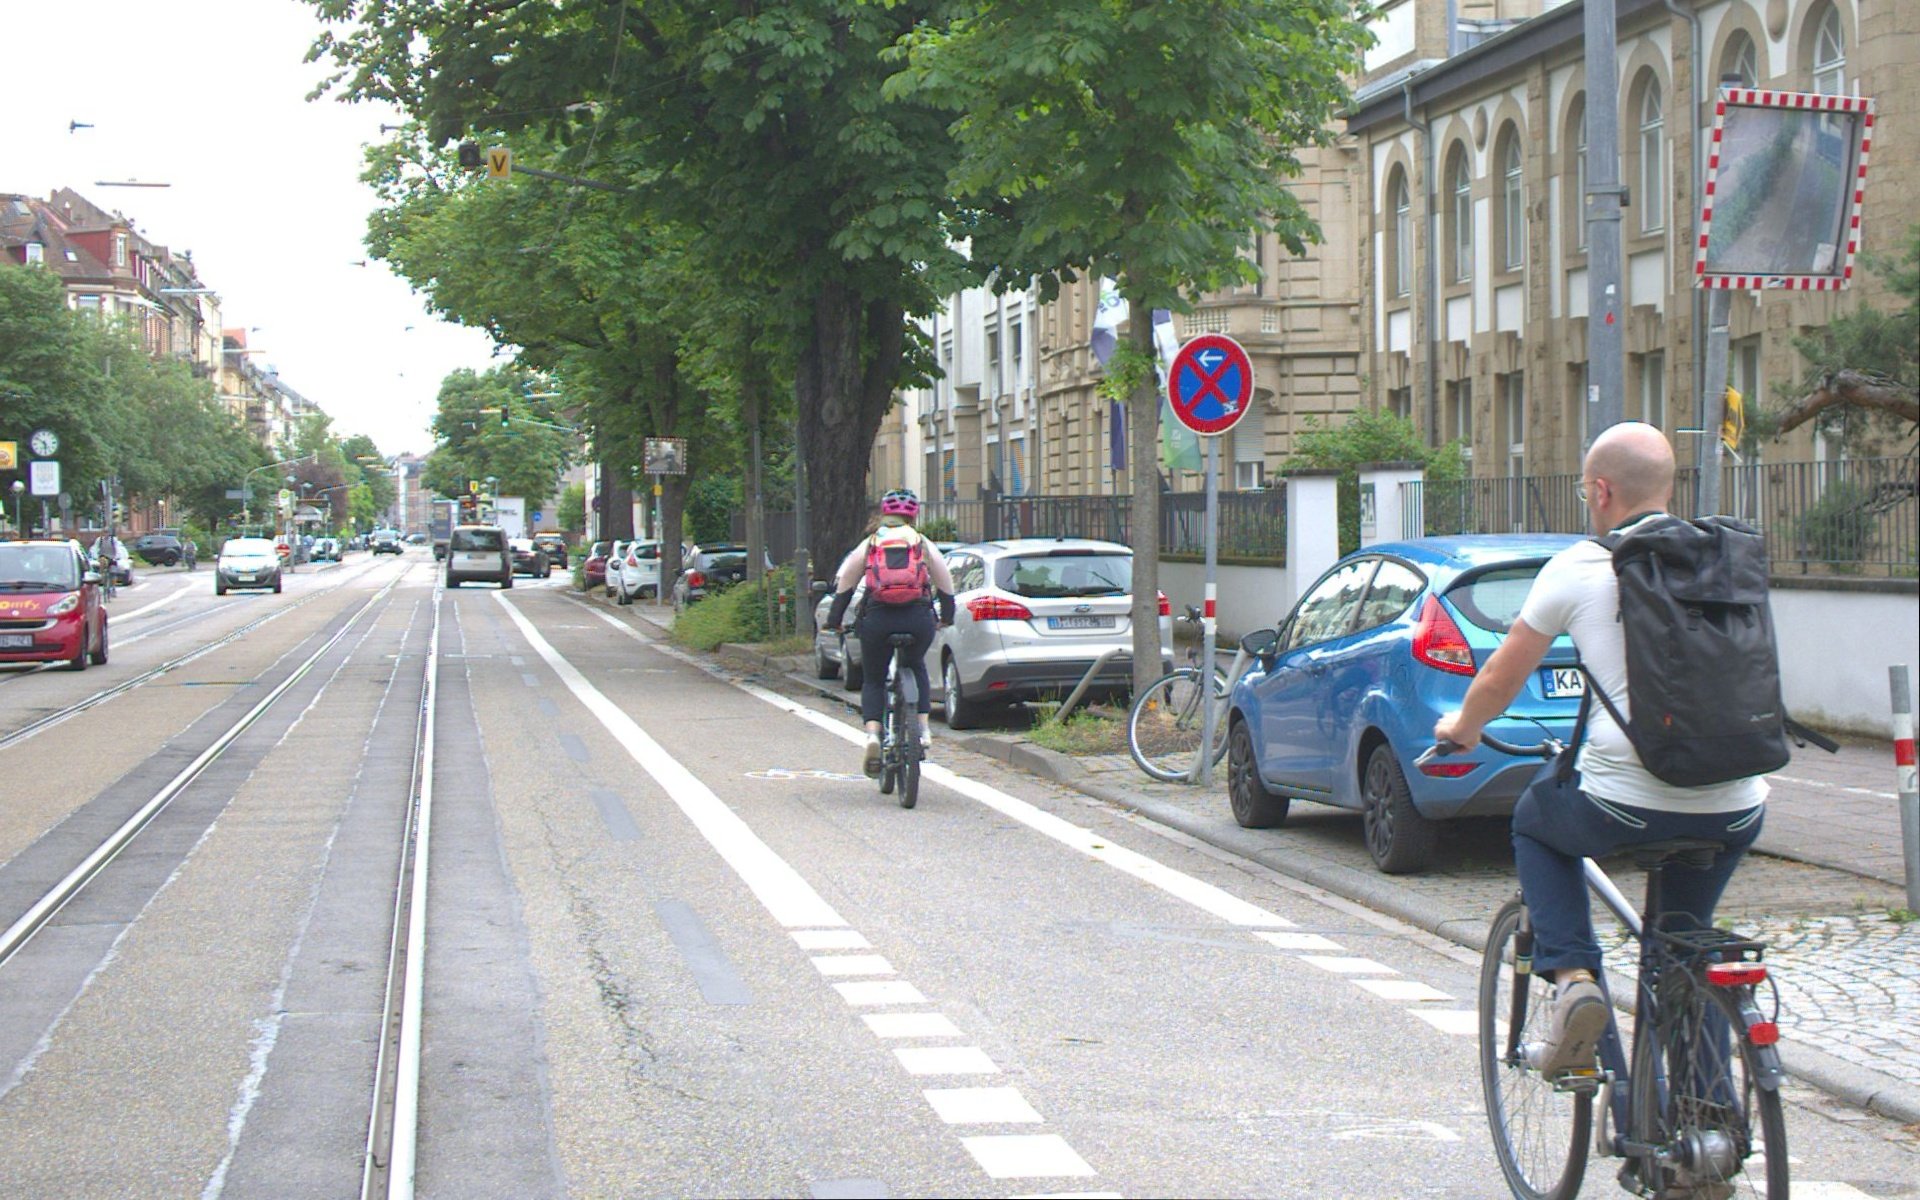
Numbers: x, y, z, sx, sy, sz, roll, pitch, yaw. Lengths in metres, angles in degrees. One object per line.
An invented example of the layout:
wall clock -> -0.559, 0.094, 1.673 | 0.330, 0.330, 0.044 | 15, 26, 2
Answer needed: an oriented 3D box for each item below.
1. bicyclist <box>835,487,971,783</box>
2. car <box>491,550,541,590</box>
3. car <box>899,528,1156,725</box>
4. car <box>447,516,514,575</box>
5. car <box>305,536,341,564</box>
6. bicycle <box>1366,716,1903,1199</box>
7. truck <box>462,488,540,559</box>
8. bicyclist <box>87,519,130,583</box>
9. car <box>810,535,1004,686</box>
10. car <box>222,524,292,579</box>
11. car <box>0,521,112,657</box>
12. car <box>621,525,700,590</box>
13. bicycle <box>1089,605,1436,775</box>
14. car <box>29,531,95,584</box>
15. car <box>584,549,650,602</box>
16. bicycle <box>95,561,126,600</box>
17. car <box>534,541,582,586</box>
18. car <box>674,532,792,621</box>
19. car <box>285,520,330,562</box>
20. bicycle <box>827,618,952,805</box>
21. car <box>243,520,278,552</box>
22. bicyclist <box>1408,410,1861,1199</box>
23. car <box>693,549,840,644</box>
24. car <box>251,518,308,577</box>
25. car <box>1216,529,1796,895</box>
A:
bicyclist -> -0.326, 0.179, 19.193 | 0.657, 1.605, 0.920 | -1, 1, -7
car -> -16.521, -1.132, 128.012 | 1.769, 1.394, 3.796 | -1, 1, -6
car -> 0.482, 0.167, 27.823 | 1.475, 1.476, 3.566 | 0, 1, -9
car -> -14.062, -1.601, 101.036 | 1.811, 1.702, 3.699 | 0, 1, -6
car -> -38.755, -3.041, 209.303 | 1.772, 1.638, 3.567 | -1, 1, -4
bicycle -> 1.286, 0.852, 6.924 | 0.664, 1.113, 1.866 | 1, 1, -1
truck -> -26.825, -4.455, 200.439 | 3.806, 4.015, 10.221 | -1, 1, -11
bicyclist -> -20.110, -1.169, 81.233 | 0.843, 1.495, 1.027 | -1, 1, -7
car -> -0.583, 0.066, 34.902 | 1.475, 1.424, 3.566 | -1, 1, -9
car -> -18.876, -1.325, 92.250 | 1.740, 1.424, 4.001 | -1, 1, -13
car -> -10.861, -0.138, 39.890 | 1.676, 1.517, 2.782 | 0, 1, -8
car -> -6.648, -0.956, 76.060 | 1.666, 1.394, 3.662 | -1, 1, -6
bicycle -> 1.824, 0.532, 20.765 | 2.011, 0.953, 0.534 | -1, 1, -12
car -> -38.348, -1.829, 146.883 | 2.177, 2.199, 4.220 | -1, 1, -7
car -> -9.591, -0.705, 95.991 | 1.769, 1.394, 3.796 | -1, 1, -6
bicycle -> -20.045, -0.472, 81.171 | 0.469, 0.866, 2.139 | -1, 1, -8
car -> -18.909, -1.729, 161.661 | 1.993, 2.007, 4.001 | -1, 1, -10
car -> -3.812, -0.421, 57.239 | 1.791, 1.394, 3.796 | -1, 1, -6
car -> -35.451, -3.236, 186.942 | 2.204, 2.248, 4.001 | -1, 1, -8
bicycle -> -0.414, 0.598, 19.344 | 0.489, 0.976, 2.058 | 0, 0, -7
car -> -46.960, -4.313, 230.769 | 1.820, 2.060, 3.880 | -1, 1, -4
bicyclist -> 1.281, 0.431, 6.701 | 0.662, 1.564, 0.986 | 0, 1, -1
car -> -2.792, -0.077, 48.876 | 1.873, 1.247, 4.001 | -1, 1, -6
car -> -28.332, -2.195, 143.218 | 2.204, 2.409, 4.001 | -1, 1, -10
car -> 2.423, 0.428, 16.076 | 1.673, 1.455, 3.433 | -2, 2, -9
